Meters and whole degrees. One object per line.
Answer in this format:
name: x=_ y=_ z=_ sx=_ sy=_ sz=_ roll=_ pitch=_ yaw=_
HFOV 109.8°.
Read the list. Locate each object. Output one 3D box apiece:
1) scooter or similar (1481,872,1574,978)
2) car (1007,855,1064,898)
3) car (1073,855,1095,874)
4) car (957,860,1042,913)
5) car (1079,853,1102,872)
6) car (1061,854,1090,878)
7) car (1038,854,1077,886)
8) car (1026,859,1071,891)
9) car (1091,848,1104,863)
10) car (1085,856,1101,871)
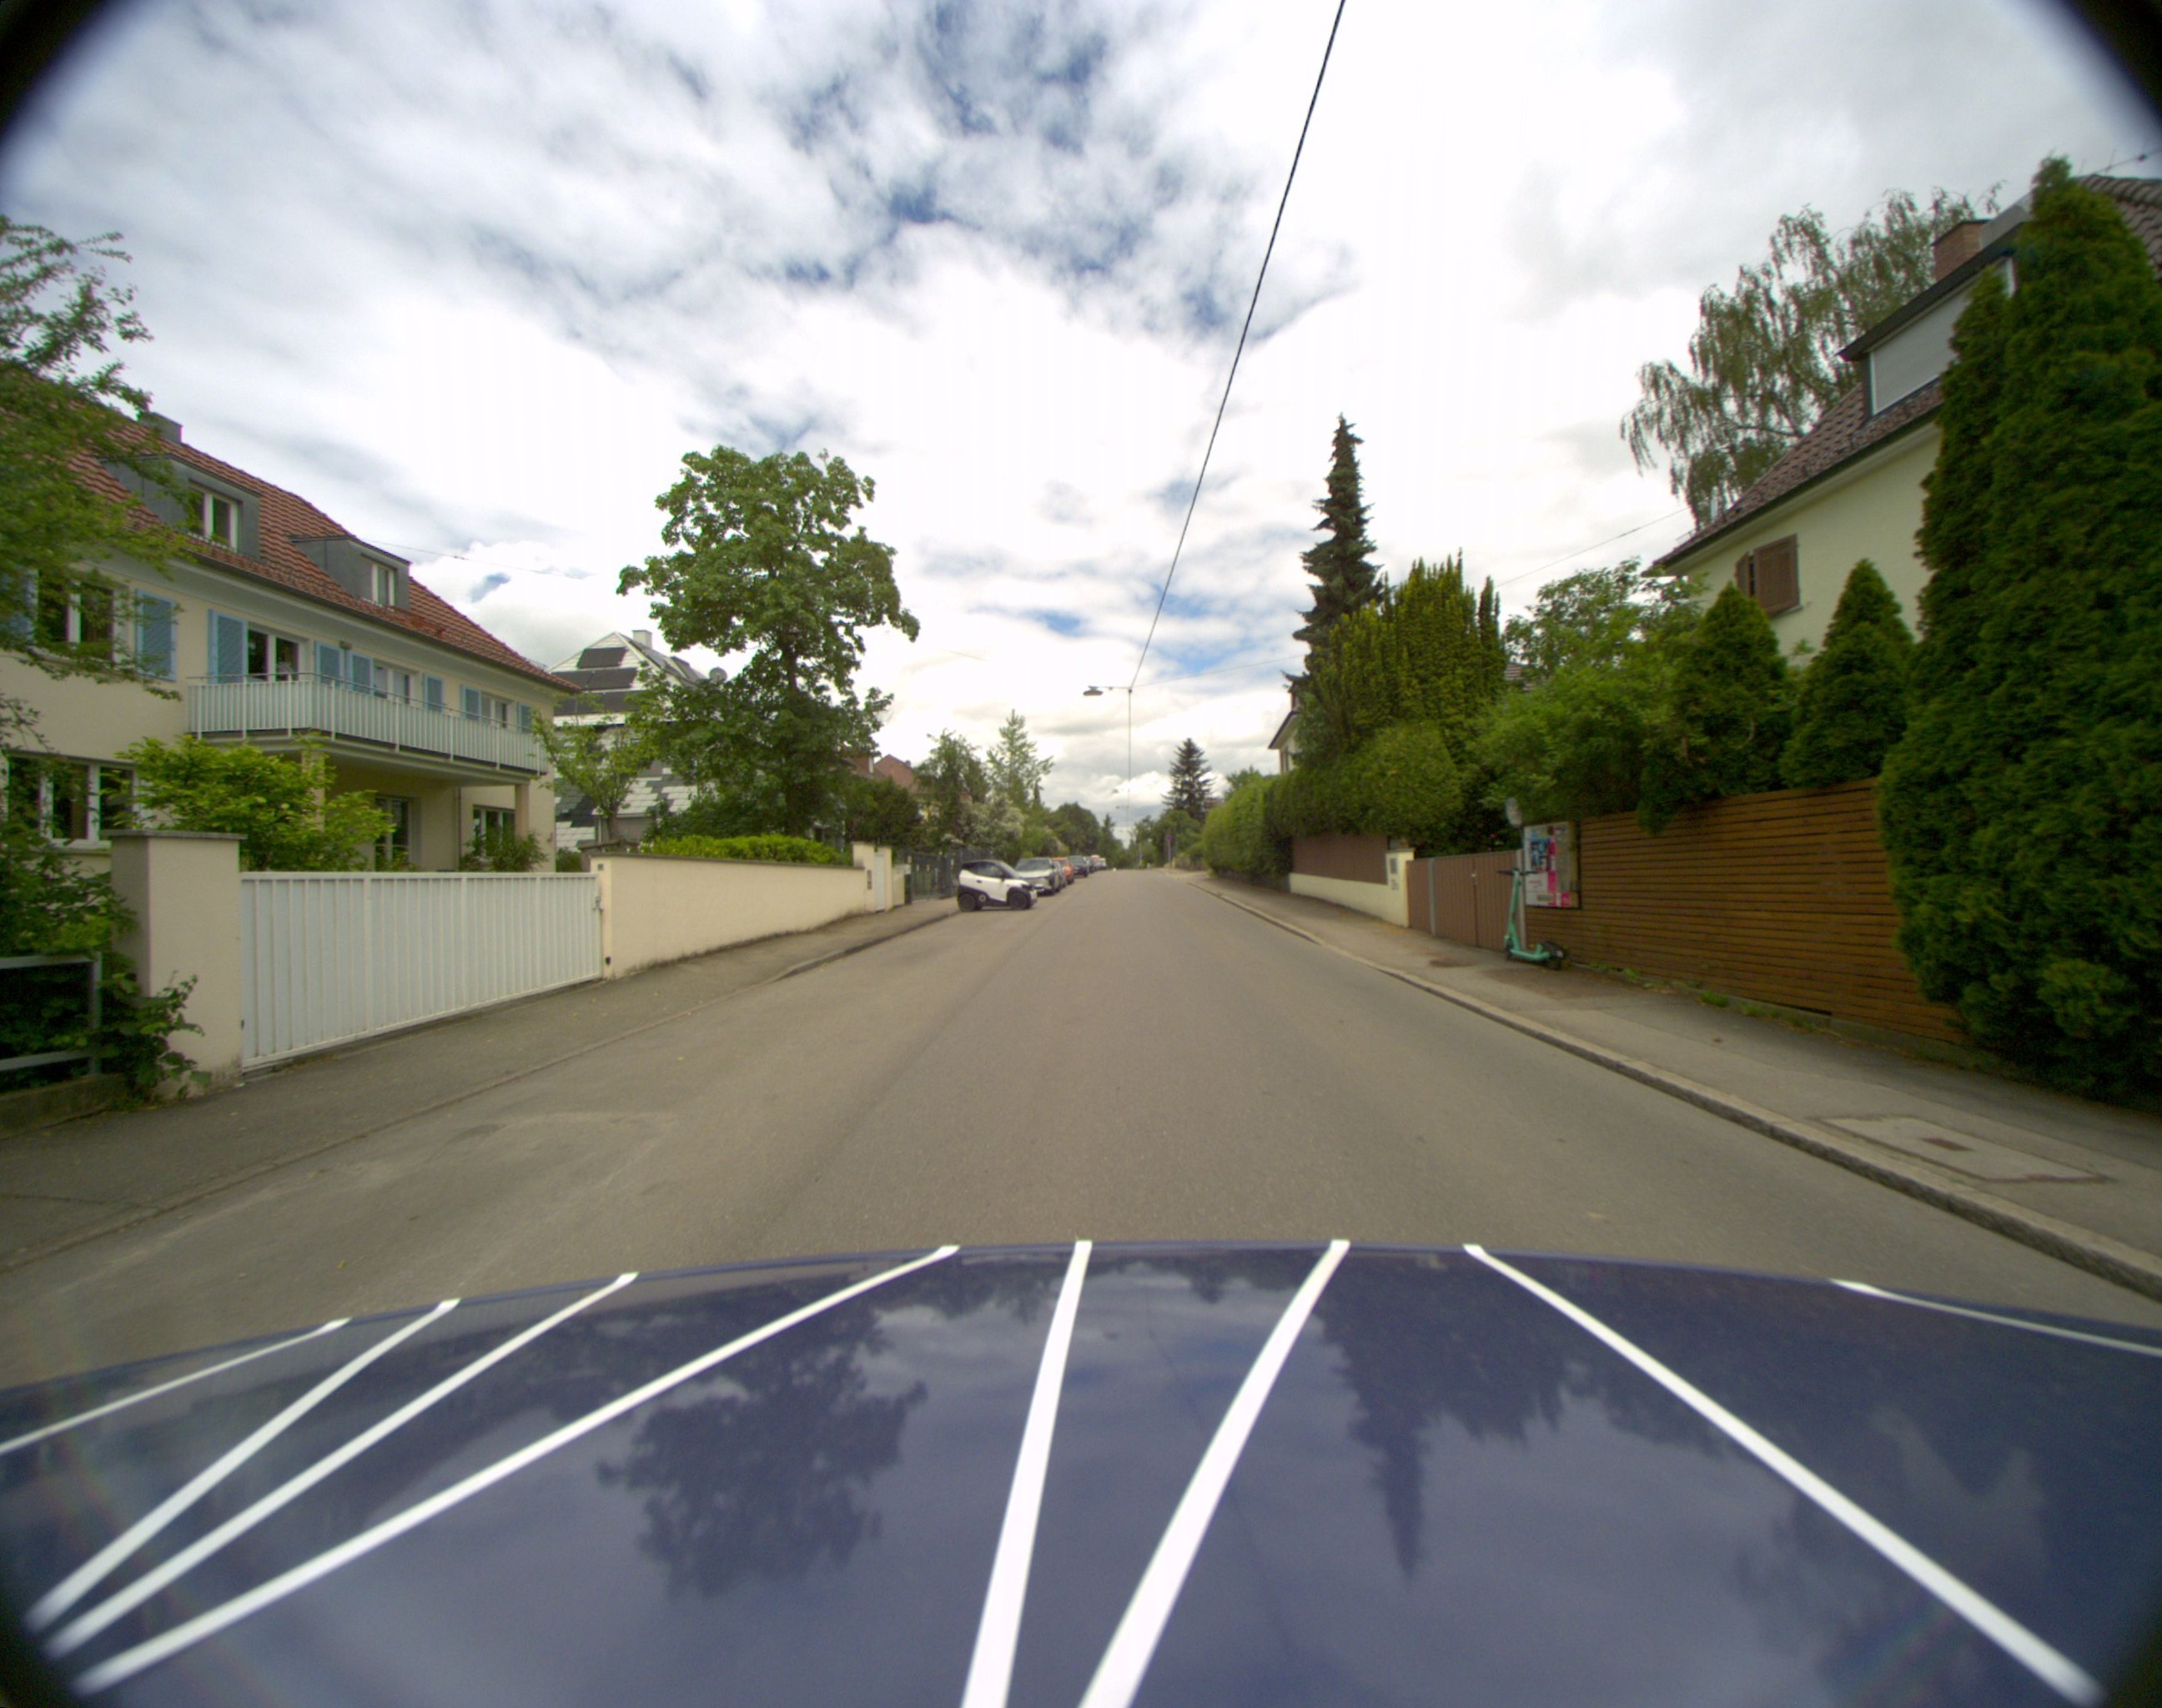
scooter or similar: x=5.438 y=0.832 z=9.327 sx=0.392 sy=1.164 sz=1.270 roll=-2 pitch=0 yaw=2
car: x=-1.874 y=0.901 z=32.510 sx=1.833 sy=1.614 sz=4.493 roll=-3 pitch=0 yaw=3
car: x=0.287 y=0.857 z=63.399 sx=1.602 sy=1.501 sz=3.014 roll=-2 pitch=0 yaw=4
car: x=-2.491 y=0.980 z=23.441 sx=2.291 sy=1.515 sz=1.319 roll=-2 pitch=0 yaw=8
car: x=0.903 y=0.736 z=69.750 sx=1.805 sy=1.582 sz=4.142 roll=-2 pitch=0 yaw=5
car: x=-0.360 y=0.841 z=56.943 sx=1.955 sy=1.617 sz=4.376 roll=-3 pitch=0 yaw=1
car: x=-1.327 y=0.889 z=44.431 sx=1.854 sy=1.617 sz=4.170 roll=-3 pitch=0 yaw=2
car: x=-1.555 y=0.999 z=37.746 sx=1.720 sy=1.374 sz=4.236 roll=-3 pitch=0 yaw=3
car: x=2.586 y=0.277 z=119.587 sx=1.853 sy=2.210 sz=5.369 roll=-4 pitch=-1 yaw=2
car: x=1.296 y=1.033 z=83.448 sx=1.721 sy=1.451 sz=4.141 roll=-2 pitch=0 yaw=0
